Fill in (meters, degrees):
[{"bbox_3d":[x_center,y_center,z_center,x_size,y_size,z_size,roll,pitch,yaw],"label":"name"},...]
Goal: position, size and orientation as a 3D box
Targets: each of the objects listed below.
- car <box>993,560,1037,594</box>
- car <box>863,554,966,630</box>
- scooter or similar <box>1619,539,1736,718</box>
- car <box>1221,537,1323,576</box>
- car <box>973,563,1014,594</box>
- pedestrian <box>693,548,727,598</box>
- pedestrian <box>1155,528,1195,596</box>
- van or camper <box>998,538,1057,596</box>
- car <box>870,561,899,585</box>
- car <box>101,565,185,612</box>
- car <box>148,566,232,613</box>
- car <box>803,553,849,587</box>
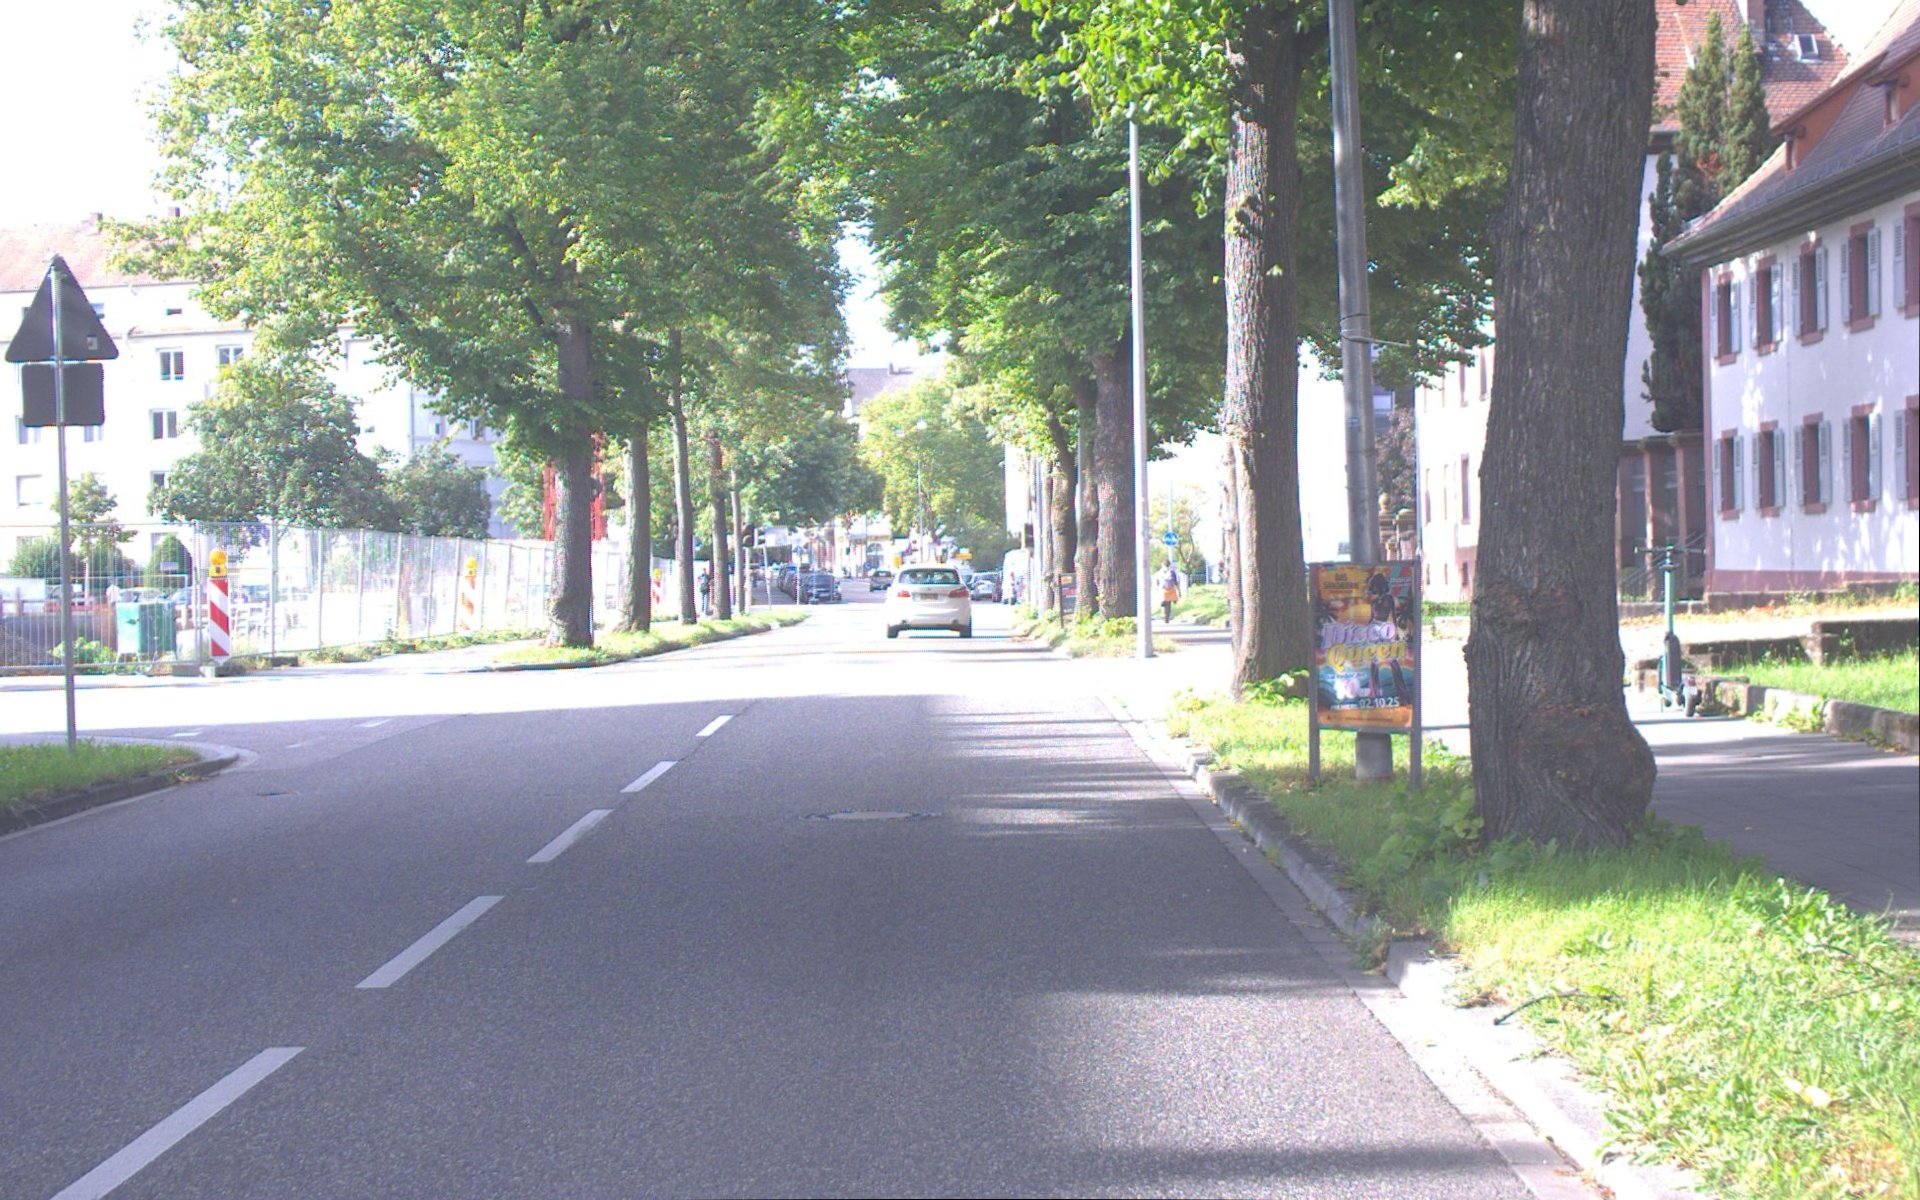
[{"bbox_3d":[2.717,-1.149,170.314,1.993,1.568,4.000,-2,1,-1],"label":"car"},{"bbox_3d":[-1.001,-0.170,73.091,1.993,1.549,4.274,0,0,-3],"label":"car"},{"bbox_3d":[5.334,0.197,25.610,0.579,1.287,1.381,-1,1,1],"label":"scooter or similar"},{"bbox_3d":[13.968,-1.933,154.164,4.449,1.616,2.000,-2,1,4],"label":"car"},{"bbox_3d":[1.746,-1.157,180.872,1.993,1.568,4.000,-2,1,-1],"label":"car"},{"bbox_3d":[-8.728,-0.936,119.896,1.006,1.722,1.178,-1,-1,-12],"label":"pedestrian"},{"bbox_3d":[5.195,-0.912,82.974,0.814,1.585,0.769,-3,0,-1],"label":"pedestrian"},{"bbox_3d":[3.115,-1.541,159.369,2.209,2.598,5.372,-2,1,-4],"label":"van or camper"},{"bbox_3d":[-5.439,-1.942,249.282,1.993,1.749,4.000,0,0,0],"label":"car"},{"bbox_3d":[-36.910,-0.517,155.397,1.995,2.007,3.997,-1,1,15],"label":"car"},{"bbox_3d":[-34.571,-0.484,154.464,1.995,2.007,3.997,-1,1,15],"label":"car"},{"bbox_3d":[-6.851,-1.537,175.779,1.993,1.634,4.001,-2,1,-6],"label":"car"}]
